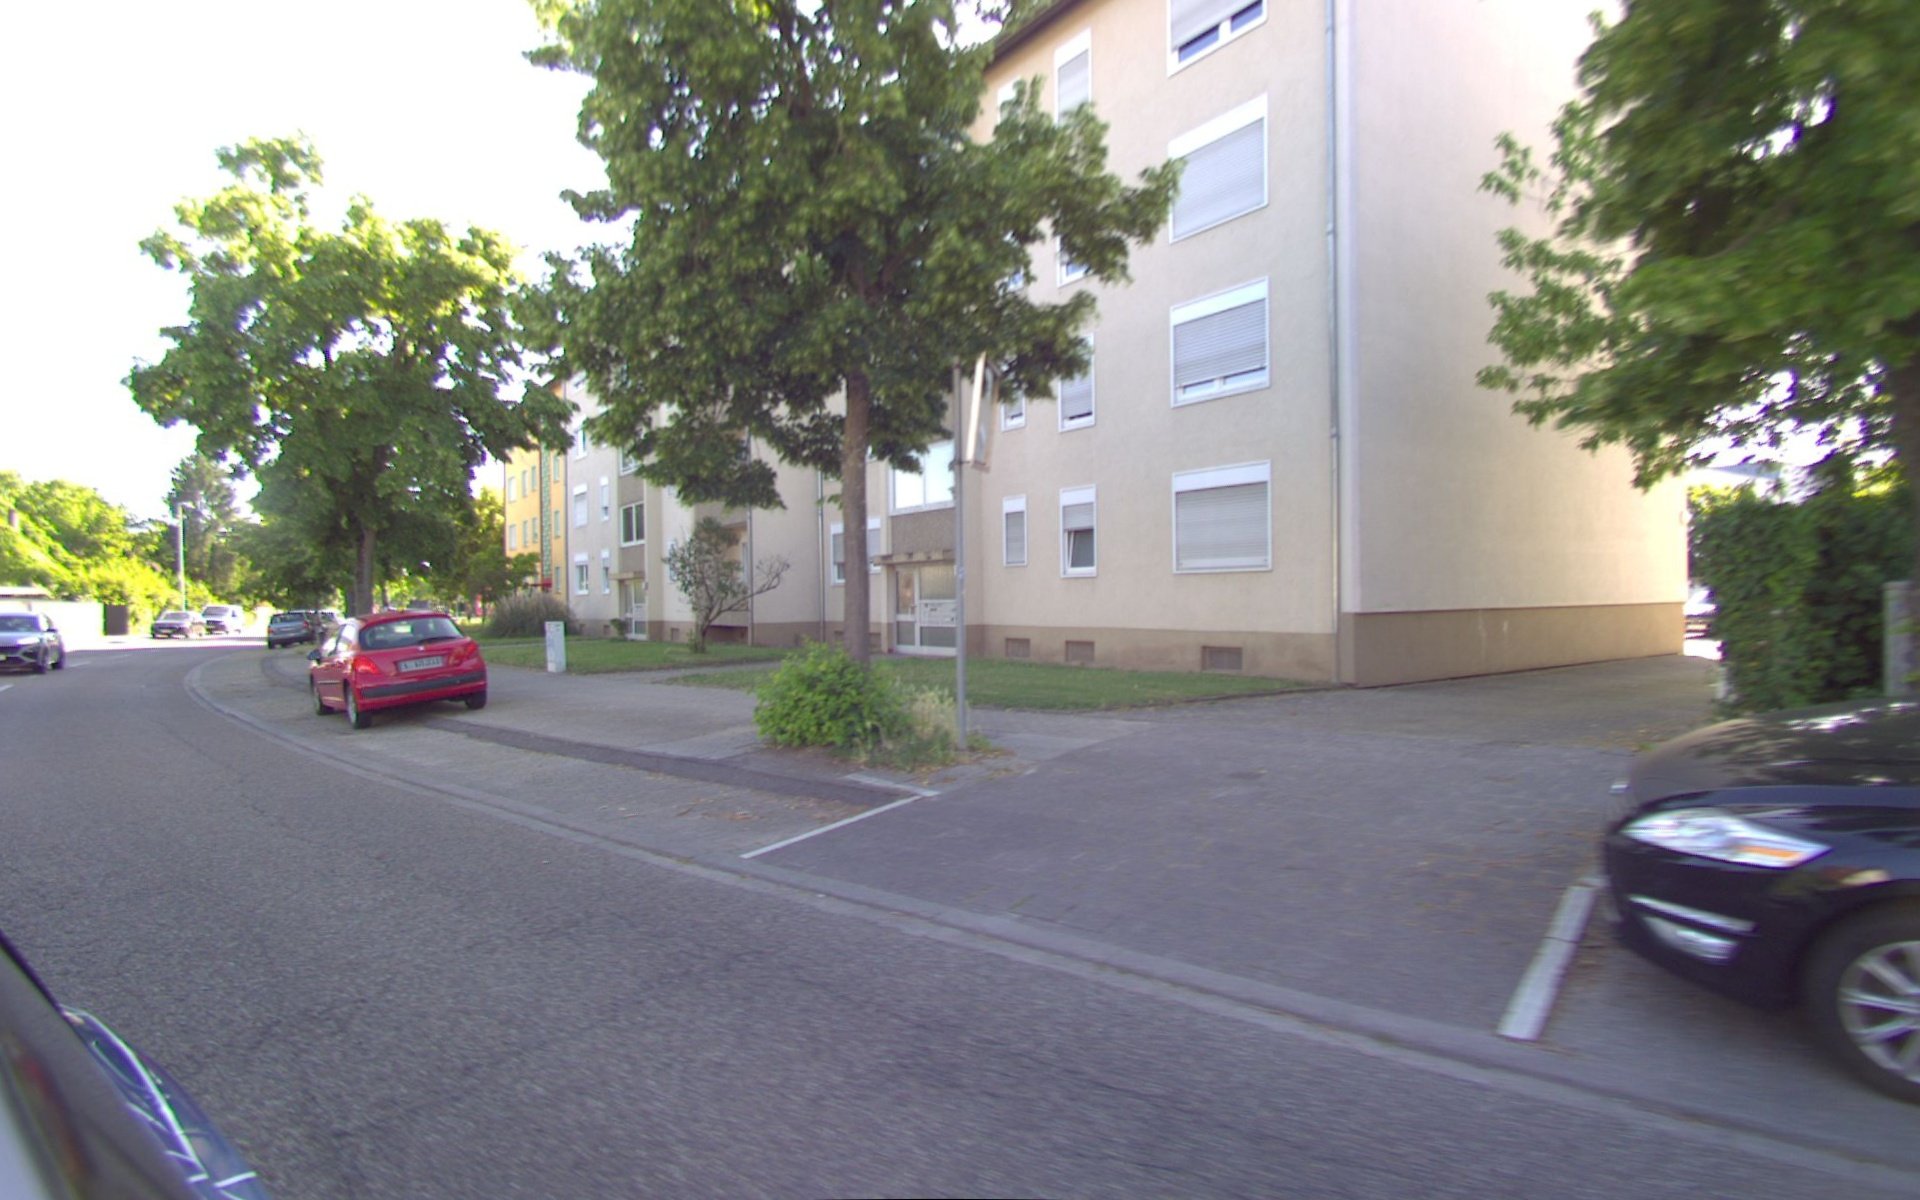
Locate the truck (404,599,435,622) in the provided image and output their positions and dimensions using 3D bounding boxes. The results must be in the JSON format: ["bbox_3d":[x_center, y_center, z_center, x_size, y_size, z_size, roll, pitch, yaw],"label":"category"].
[{"bbox_3d":[-57.598,1.112,107.996,2.373,2.384,4.540,-1,0,-21],"label":"truck"}]

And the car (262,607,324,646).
[{"bbox_3d":[-28.326,1.117,43.064,1.624,1.551,3.716,-1,0,-25],"label":"car"}]

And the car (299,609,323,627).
[{"bbox_3d":[-61.085,1.676,95.276,1.613,1.590,3.715,-1,0,-29],"label":"car"}]

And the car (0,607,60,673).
[{"bbox_3d":[-24.402,1.009,25.918,1.555,1.590,3.713,-1,0,-34],"label":"car"}]

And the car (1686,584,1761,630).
[{"bbox_3d":[24.163,0.207,31.994,3.279,1.380,1.412,-1,0,-44],"label":"car"}]

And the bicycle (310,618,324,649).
[{"bbox_3d":[-21.361,1.107,33.624,0.352,1.015,1.203,-2,0,-33],"label":"bicycle"}]

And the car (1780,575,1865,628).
[{"bbox_3d":[26.164,0.037,30.674,3.464,1.511,1.670,-1,0,-45],"label":"car"}]

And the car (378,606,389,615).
[{"bbox_3d":[-90.617,1.661,159.074,1.521,1.476,3.715,-1,0,-29],"label":"car"}]

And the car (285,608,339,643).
[{"bbox_3d":[-30.625,1.168,47.887,1.624,1.551,3.716,-1,0,-25],"label":"car"}]

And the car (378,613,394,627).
[{"bbox_3d":[-64.051,2.192,112.961,1.521,1.476,3.715,-1,0,-29],"label":"car"}]

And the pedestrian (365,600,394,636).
[{"bbox_3d":[-26.380,0.809,46.020,0.946,1.641,0.734,-1,0,-12],"label":"pedestrian"}]

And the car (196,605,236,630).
[{"bbox_3d":[-49.336,1.161,67.158,1.613,1.590,3.715,-1,0,-29],"label":"car"}]

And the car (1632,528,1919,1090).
[{"bbox_3d":[4.470,0.542,2.516,4.537,1.504,1.706,-1,6,38],"label":"car"}]

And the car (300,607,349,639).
[{"bbox_3d":[-32.261,1.163,51.456,1.624,1.551,3.716,-1,0,-25],"label":"car"}]

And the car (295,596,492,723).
[{"bbox_3d":[-8.391,0.770,14.827,1.637,1.504,3.914,-6,3,-41],"label":"car"}]
